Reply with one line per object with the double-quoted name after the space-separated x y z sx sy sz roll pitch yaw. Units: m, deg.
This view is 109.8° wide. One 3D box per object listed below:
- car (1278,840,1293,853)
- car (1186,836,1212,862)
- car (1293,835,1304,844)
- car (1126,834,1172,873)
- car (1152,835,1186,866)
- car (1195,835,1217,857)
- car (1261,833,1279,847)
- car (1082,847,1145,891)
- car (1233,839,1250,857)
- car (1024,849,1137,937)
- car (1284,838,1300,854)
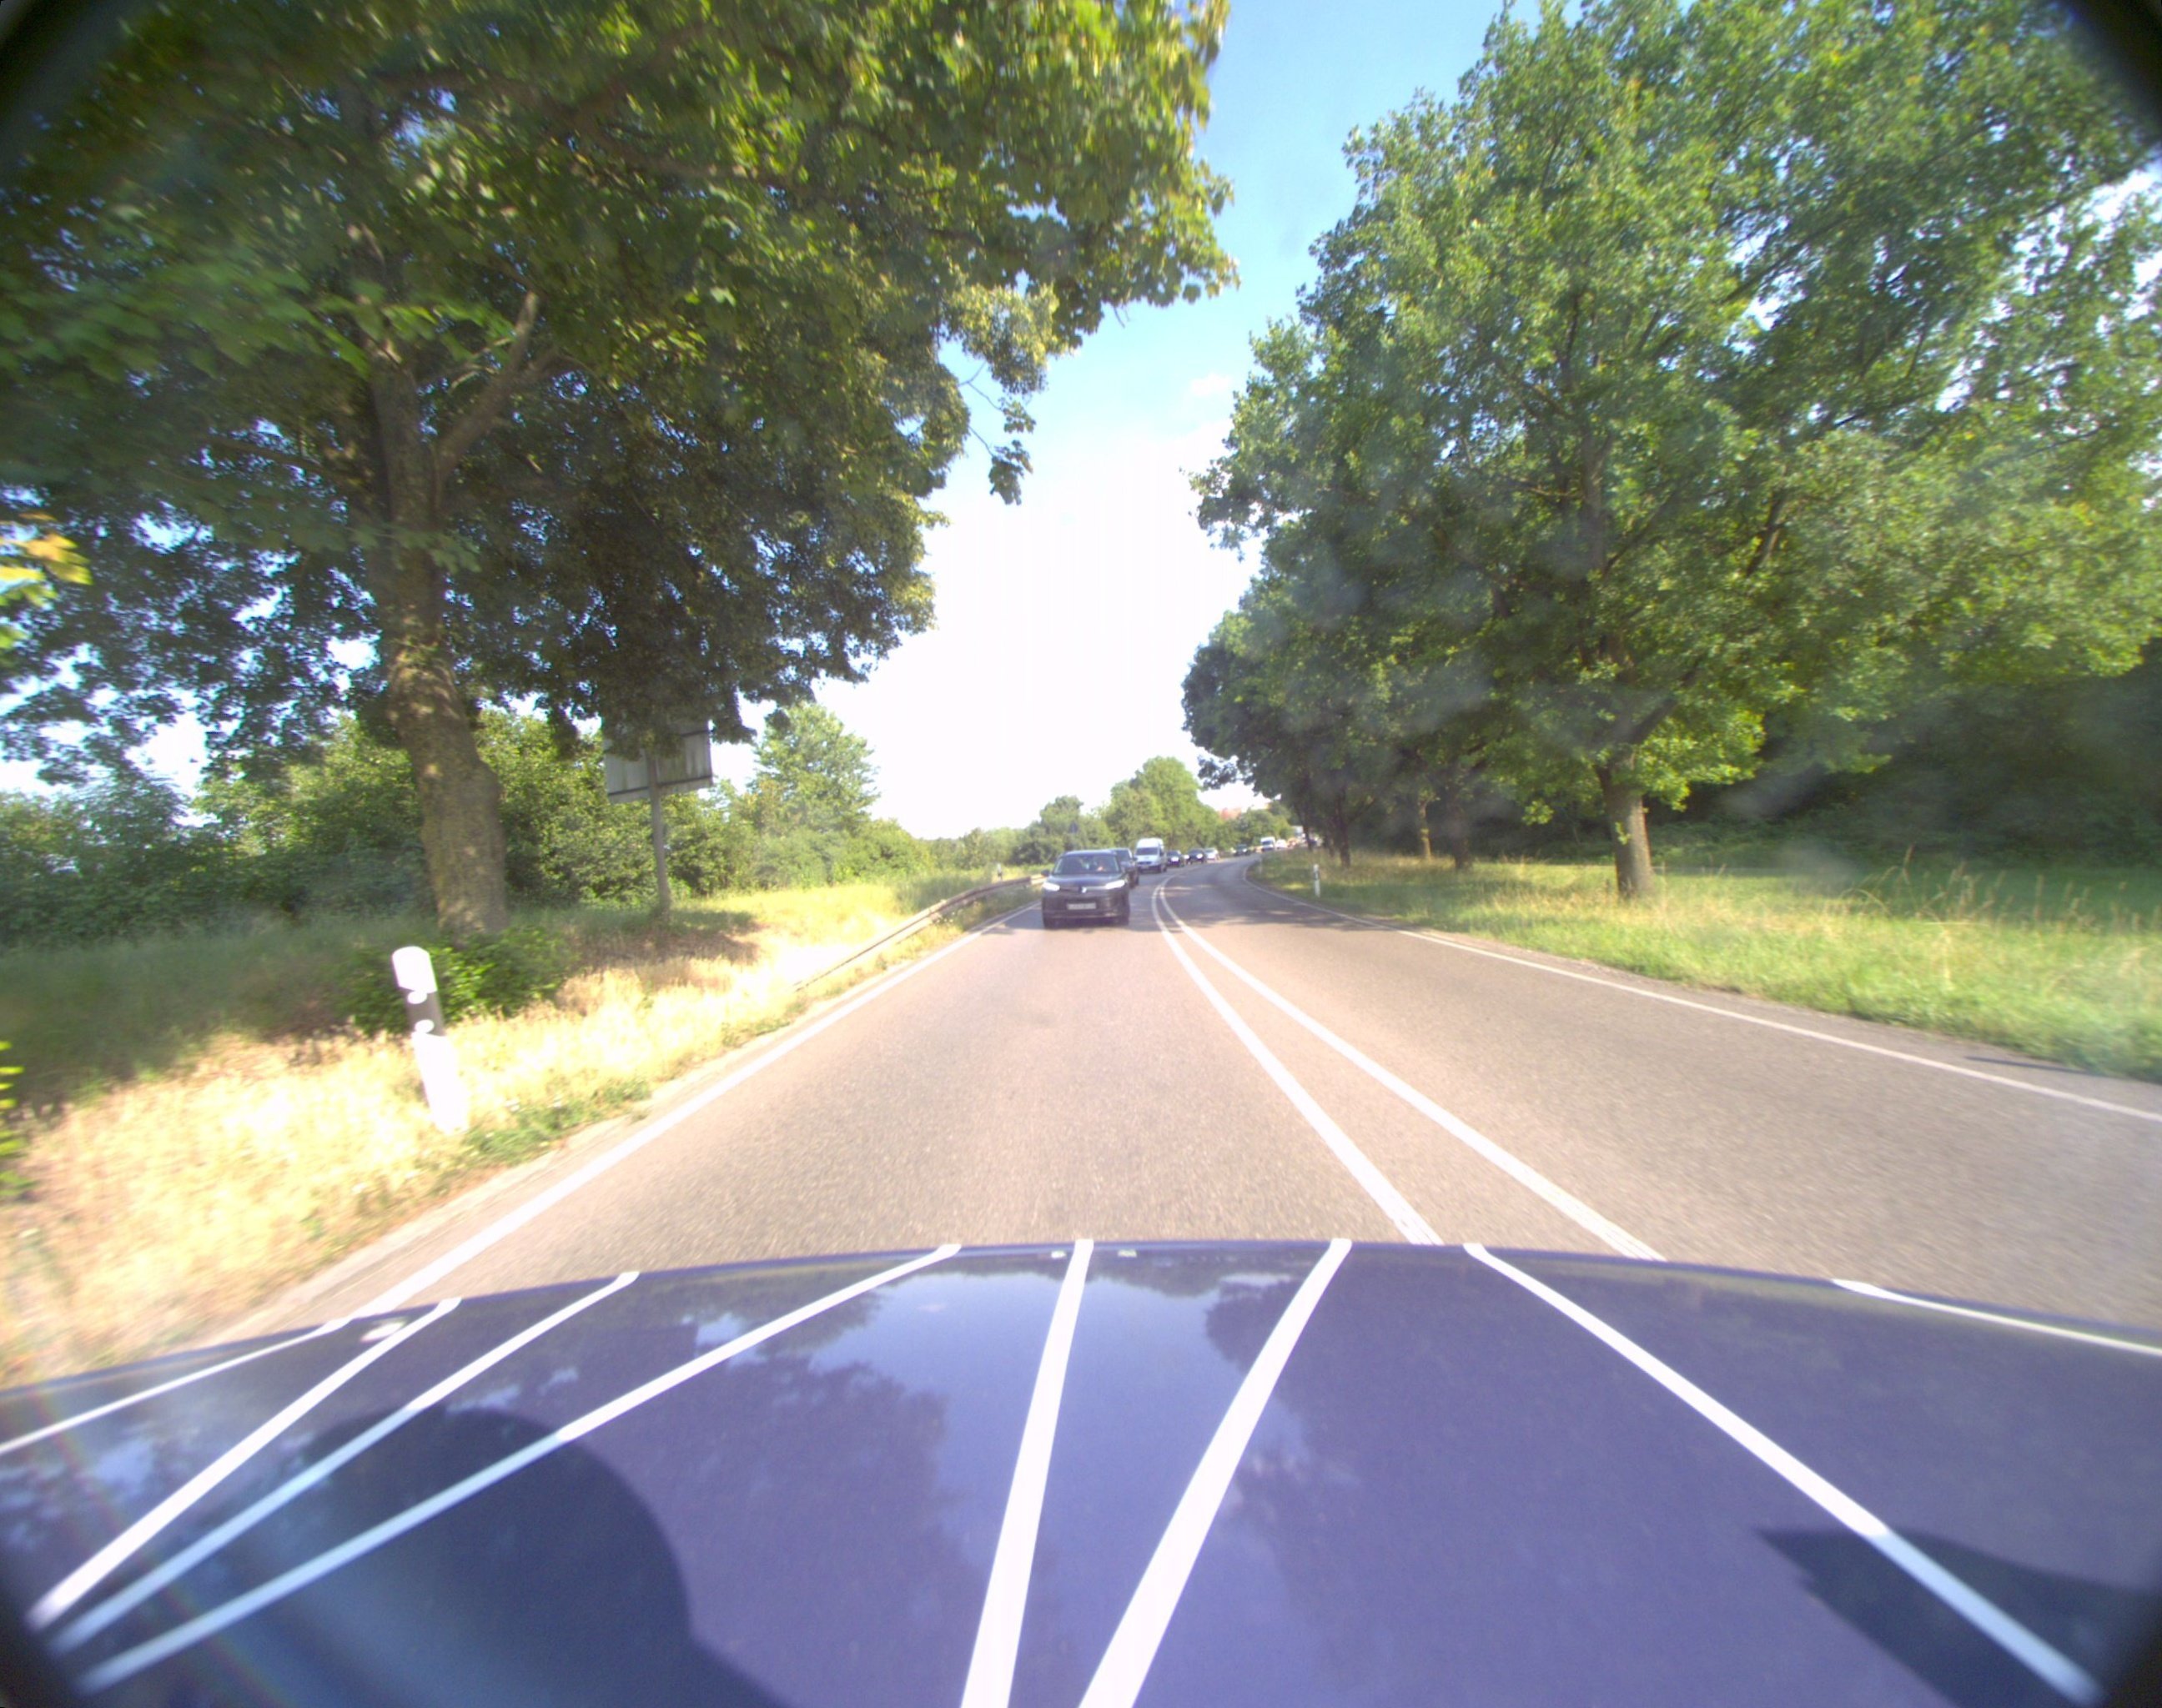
42.209 -1.574 156.944 2.085 2.403 5.149 -2 1 25 "car"
11.728 -0.543 75.079 2.086 2.403 5.146 -3 1 13 "car"
60.002 -4.055 209.177 2.085 2.403 5.149 -2 1 25 "car"
4.660 -0.074 51.382 2.086 2.403 5.147 -3 1 16 "car"
7.371 -0.326 63.229 2.086 2.403 5.146 -3 1 13 "car"
14.451 -0.965 87.713 2.086 2.403 5.146 -3 1 13 "car"
34.622 -2.609 139.093 2.085 2.403 5.149 -2 1 25 "car"
1.525 0.608 33.596 1.920 1.718 4.705 -3 0 12 "car"
23.170 -0.849 109.526 2.086 2.403 5.146 -3 1 13 "car"
0.158 0.777 17.472 1.921 1.612 4.703 -3 1 8 "car"
34.544 -1.313 124.296 2.086 2.403 5.148 -2 1 18 "car"
